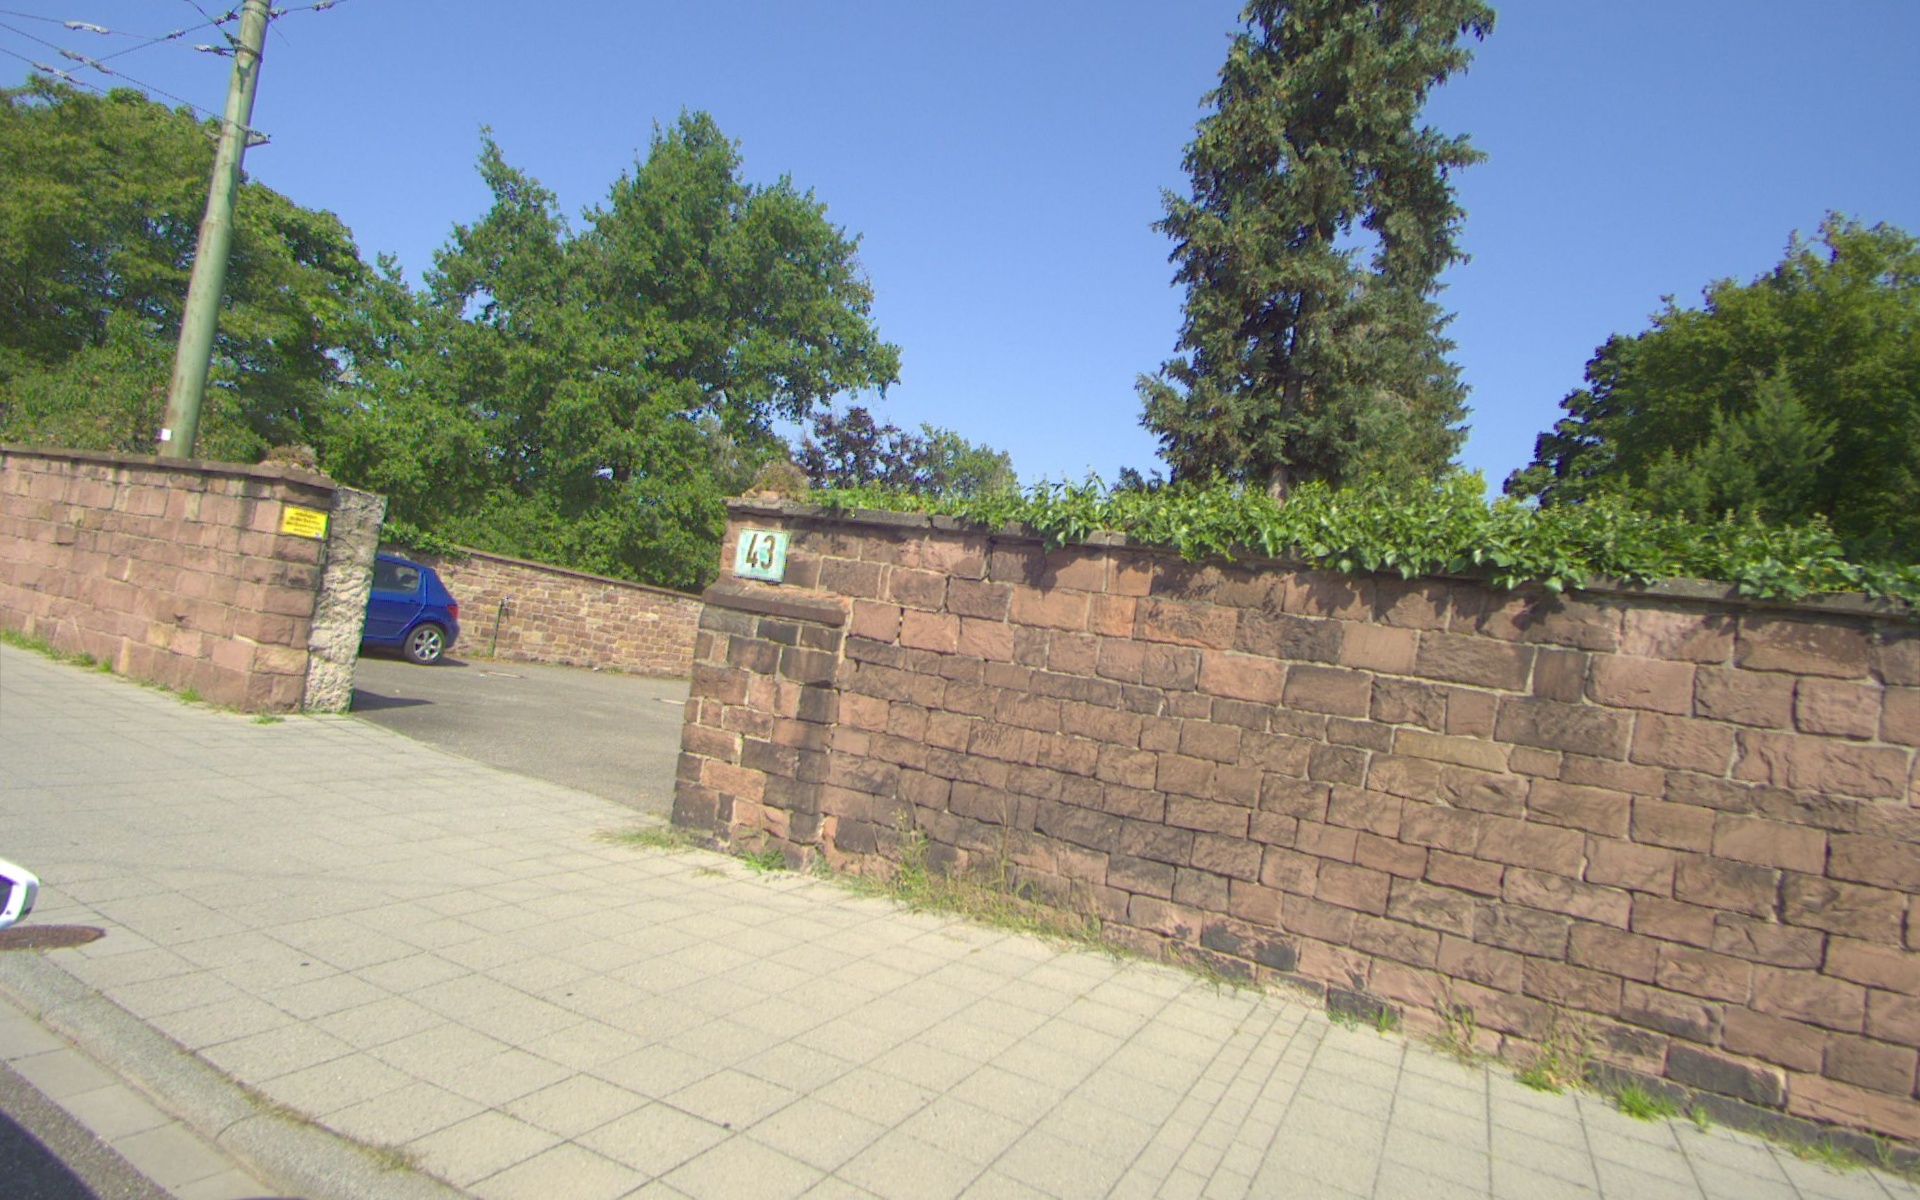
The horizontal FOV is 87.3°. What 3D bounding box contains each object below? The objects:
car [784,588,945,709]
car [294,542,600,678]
[{"bbox_3d":[-2.410,1.353,26.439,2.030,2.558,4.002,7,-4,29],"label":"car"},{"bbox_3d":[-8.081,0.253,16.260,1.746,1.479,3.984,8,-4,27],"label":"car"}]
